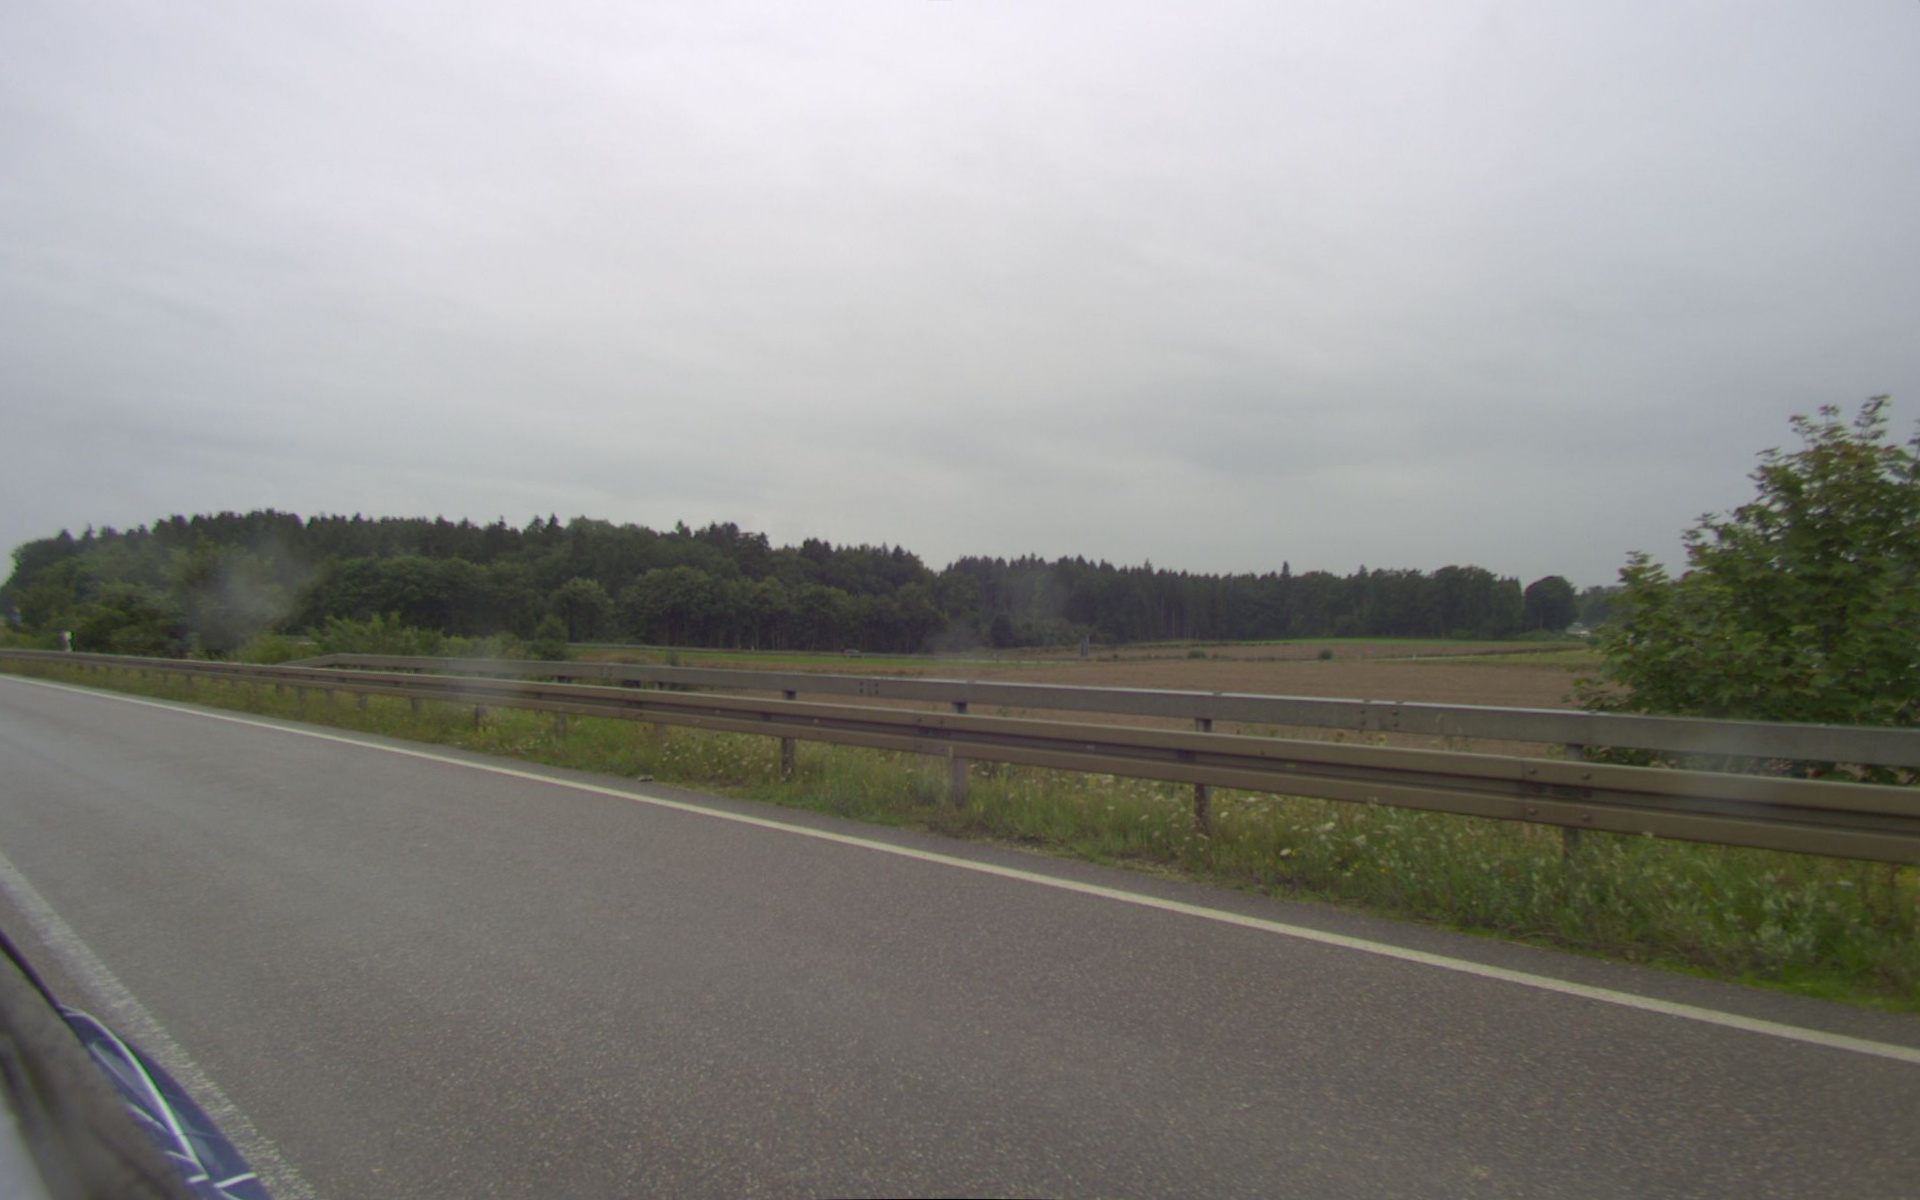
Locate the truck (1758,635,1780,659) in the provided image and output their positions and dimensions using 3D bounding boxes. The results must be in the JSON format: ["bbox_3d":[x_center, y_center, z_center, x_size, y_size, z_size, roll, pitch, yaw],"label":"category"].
[{"bbox_3d":[155.112,8.962,194.032,2.233,3.727,9.743,-2,1,33],"label":"truck"}]
